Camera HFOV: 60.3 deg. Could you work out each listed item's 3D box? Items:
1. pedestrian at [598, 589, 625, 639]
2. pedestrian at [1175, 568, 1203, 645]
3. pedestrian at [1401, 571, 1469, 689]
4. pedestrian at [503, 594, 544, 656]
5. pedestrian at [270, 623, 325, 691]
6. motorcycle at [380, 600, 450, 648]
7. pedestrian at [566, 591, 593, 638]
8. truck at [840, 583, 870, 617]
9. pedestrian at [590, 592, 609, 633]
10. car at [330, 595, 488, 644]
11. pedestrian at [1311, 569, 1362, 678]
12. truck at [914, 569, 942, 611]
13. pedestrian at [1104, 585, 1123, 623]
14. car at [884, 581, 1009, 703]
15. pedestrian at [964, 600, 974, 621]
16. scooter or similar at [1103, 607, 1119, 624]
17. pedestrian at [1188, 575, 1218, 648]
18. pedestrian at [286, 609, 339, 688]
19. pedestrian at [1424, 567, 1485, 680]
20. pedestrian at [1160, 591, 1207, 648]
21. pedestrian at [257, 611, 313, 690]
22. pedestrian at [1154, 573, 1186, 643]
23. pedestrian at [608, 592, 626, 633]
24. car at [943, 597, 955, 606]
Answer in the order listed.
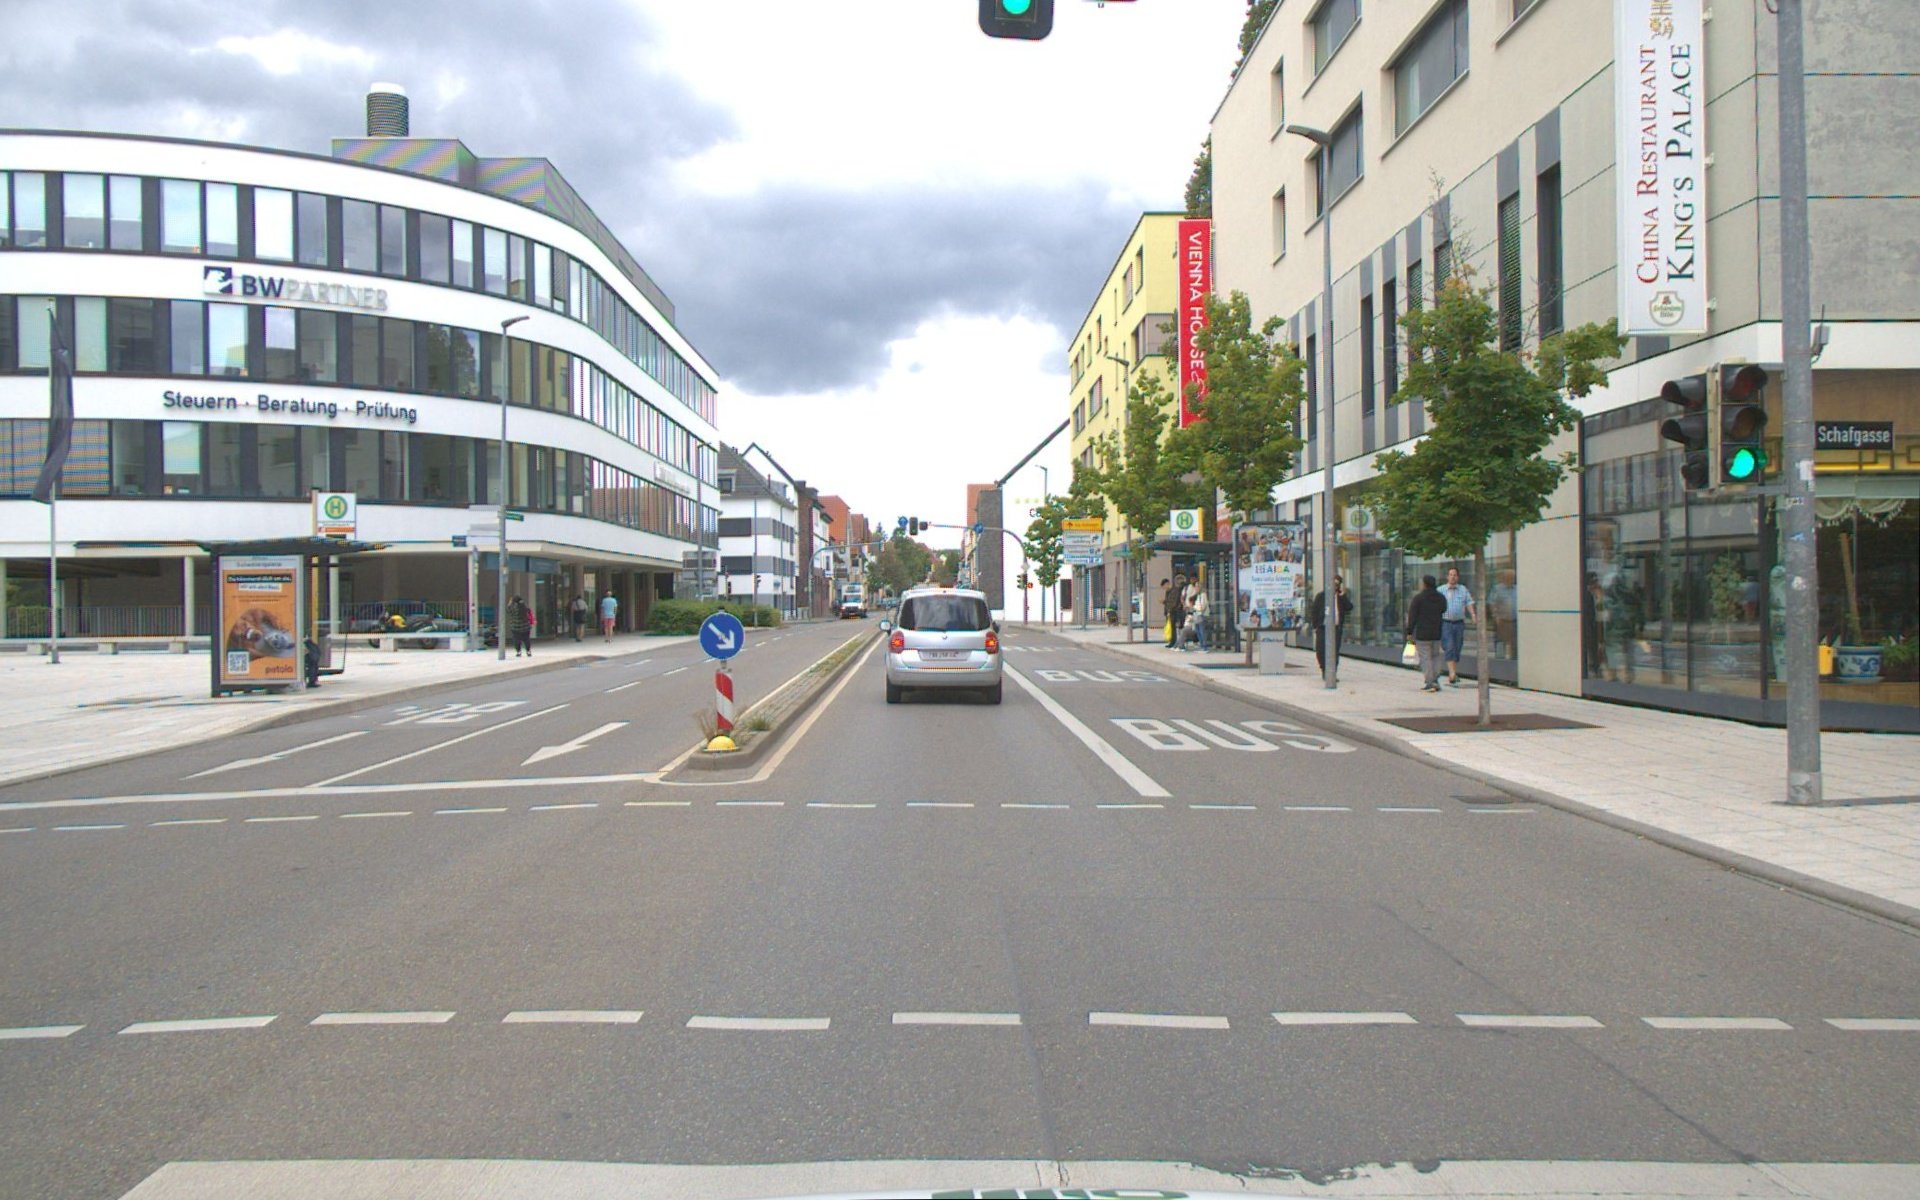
[{"bbox_3d":[-12.176,0.482,57.761,0.715,1.703,0.931,1,0,1],"label":"pedestrian"},{"bbox_3d":[5.473,0.149,39.583,0.567,1.800,0.857,-2,0,4],"label":"pedestrian"},{"bbox_3d":[6.701,0.413,23.364,0.725,1.636,0.714,-1,0,-1],"label":"pedestrian"},{"bbox_3d":[-11.532,0.657,43.718,0.812,1.594,0.813,1,0,4],"label":"pedestrian"},{"bbox_3d":[-11.263,0.962,28.147,0.670,1.094,0.576,-3,0,-3],"label":"pedestrian"},{"bbox_3d":[-16.086,0.705,48.831,1.816,1.356,0.636,1,0,2],"label":"motorcycle"},{"bbox_3d":[-13.453,0.501,58.556,0.715,1.641,0.931,1,0,1],"label":"pedestrian"},{"bbox_3d":[-9.471,-0.044,150.433,2.386,3.005,8.362,0,0,-1],"label":"truck"},{"bbox_3d":[-15.552,0.529,71.428,0.495,1.760,0.614,-1,0,30],"label":"pedestrian"},{"bbox_3d":[-17.524,0.603,52.725,4.362,1.440,1.904,1,0,5],"label":"car"},{"bbox_3d":[5.955,0.366,26.160,0.641,1.698,0.614,-1,0,-1],"label":"pedestrian"},{"bbox_3d":[-2.978,-0.932,155.957,2.543,3.925,6.847,0,0,-1],"label":"truck"},{"bbox_3d":[6.564,0.167,70.717,0.681,1.621,0.603,-2,0,-2],"label":"pedestrian"},{"bbox_3d":[-0.229,0.567,24.353,1.672,1.606,3.999,1,0,-1],"label":"car"},{"bbox_3d":[0.830,0.908,148.657,0.791,1.818,0.861,-3,0,-1],"label":"pedestrian"},{"bbox_3d":[6.388,0.641,69.987,0.580,0.684,0.824,-2,0,-2],"label":"scooter or similar"},{"bbox_3d":[5.497,0.256,37.417,0.567,1.618,0.733,-2,0,4],"label":"pedestrian"},{"bbox_3d":[-11.279,0.836,28.818,0.670,1.343,0.576,-2,0,-3],"label":"pedestrian"},{"bbox_3d":[7.603,0.356,25.462,0.729,1.698,0.614,-1,0,-1],"label":"pedestrian"},{"bbox_3d":[5.217,0.459,38.574,0.924,1.281,0.732,-2,0,-4],"label":"pedestrian"},{"bbox_3d":[-11.230,0.832,27.522,0.670,1.275,0.576,-1,0,-3],"label":"pedestrian"},{"bbox_3d":[5.203,0.193,41.003,0.705,1.713,0.733,-2,0,4],"label":"pedestrian"},{"bbox_3d":[-14.681,0.542,70.816,0.607,1.740,0.501,-1,0,-32],"label":"pedestrian"},{"bbox_3d":[-1.695,0.256,250.566,1.776,1.378,3.999,-1,0,-1],"label":"car"}]
